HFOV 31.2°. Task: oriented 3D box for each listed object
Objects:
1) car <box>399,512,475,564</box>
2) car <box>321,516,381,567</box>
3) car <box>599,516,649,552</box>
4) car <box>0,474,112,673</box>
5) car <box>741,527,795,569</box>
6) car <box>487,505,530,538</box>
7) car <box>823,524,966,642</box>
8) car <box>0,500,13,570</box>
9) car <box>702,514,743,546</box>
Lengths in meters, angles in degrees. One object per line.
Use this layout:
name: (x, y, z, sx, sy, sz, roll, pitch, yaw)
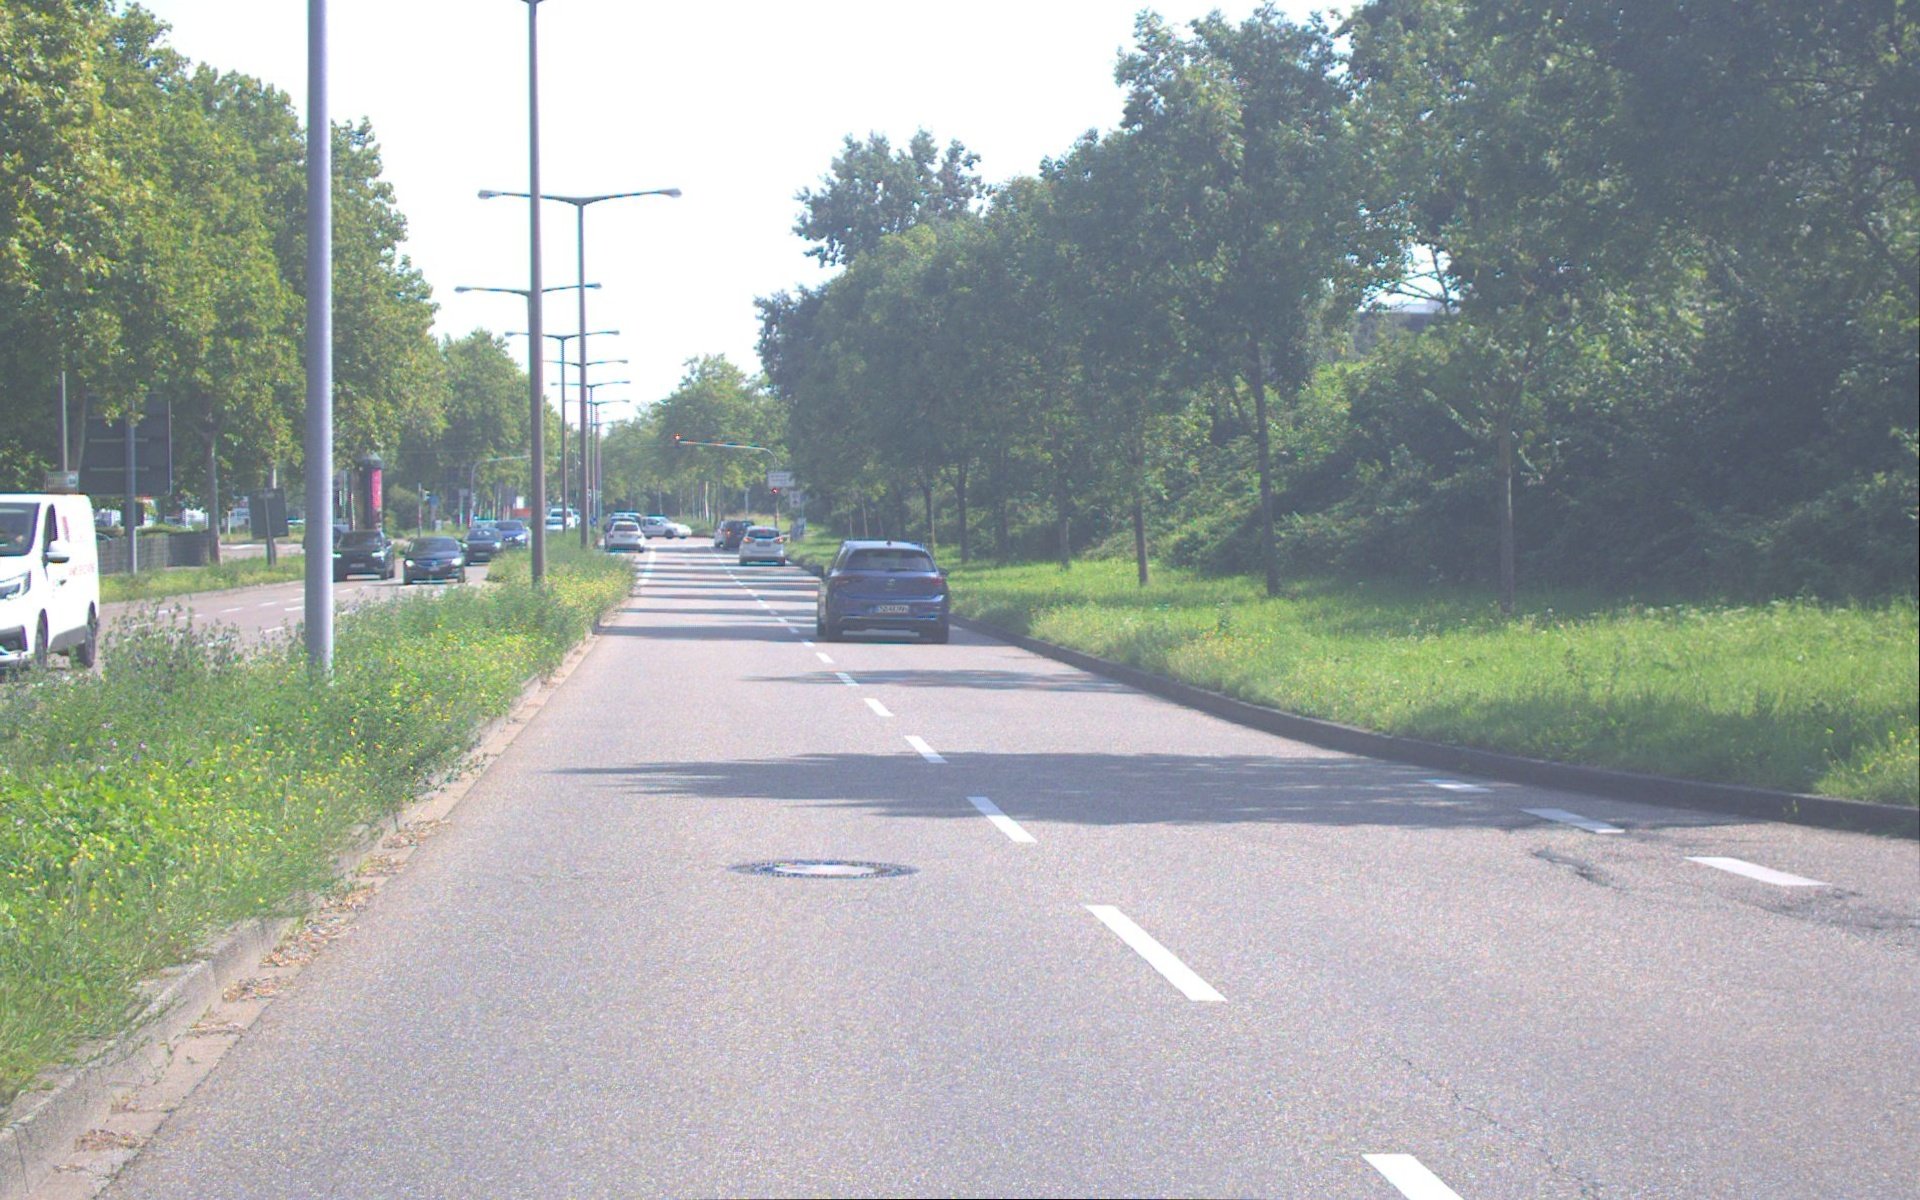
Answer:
car: (-15.667, -1.868, 103.095, 1.845, 1.484, 4.644, -2, 1, -4)
car: (-20.340, -1.946, 114.932, 1.845, 1.600, 4.612, 1, 0, -9)
car: (-16.055, -3.159, 164.383, 1.993, 1.696, 4.000, -1, 1, 0)
car: (-10.443, -0.331, 36.635, 1.927, 1.953, 5.191, -2, 2, -6)
car: (-7.786, -2.095, 139.180, 1.993, 1.648, 4.001, -1, 1, -5)
car: (-21.680, -3.757, 165.135, 1.993, 1.579, 4.347, 0, 1, -7)
car: (-0.989, -0.280, 49.669, 1.780, 1.423, 4.002, 1, 4, -5)
car: (-35.757, -2.321, 118.652, 5.583, 2.329, 2.279, 1, 3, -6)
car: (-12.903, -3.785, 186.505, 1.993, 1.648, 4.001, 2, 1, -6)
